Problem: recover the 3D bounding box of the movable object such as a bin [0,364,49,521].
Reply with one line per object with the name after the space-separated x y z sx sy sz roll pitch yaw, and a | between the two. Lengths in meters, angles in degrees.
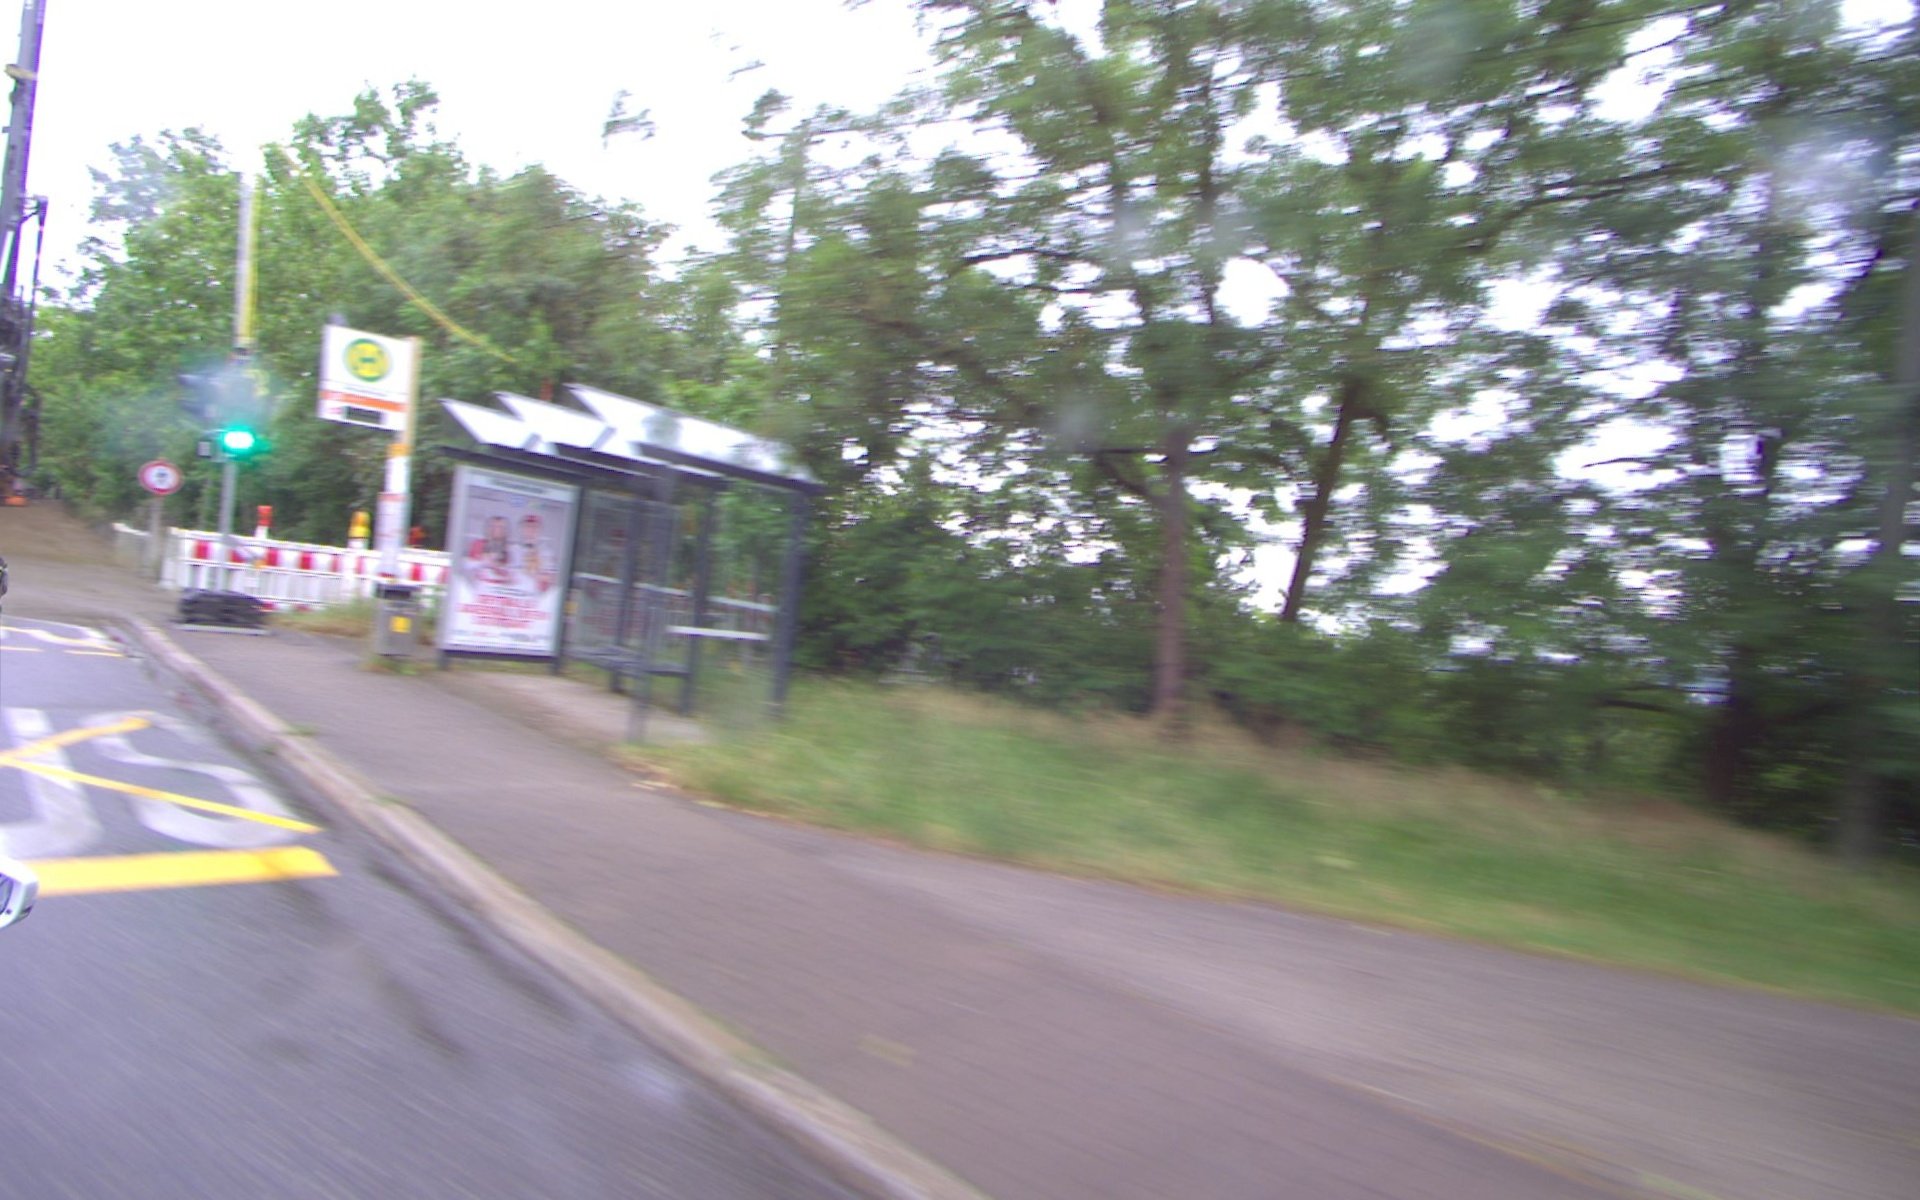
-34.113 -5.593 32.755 3.640 5.128 7.136 6 -1 -18 | movable object such as a bin
